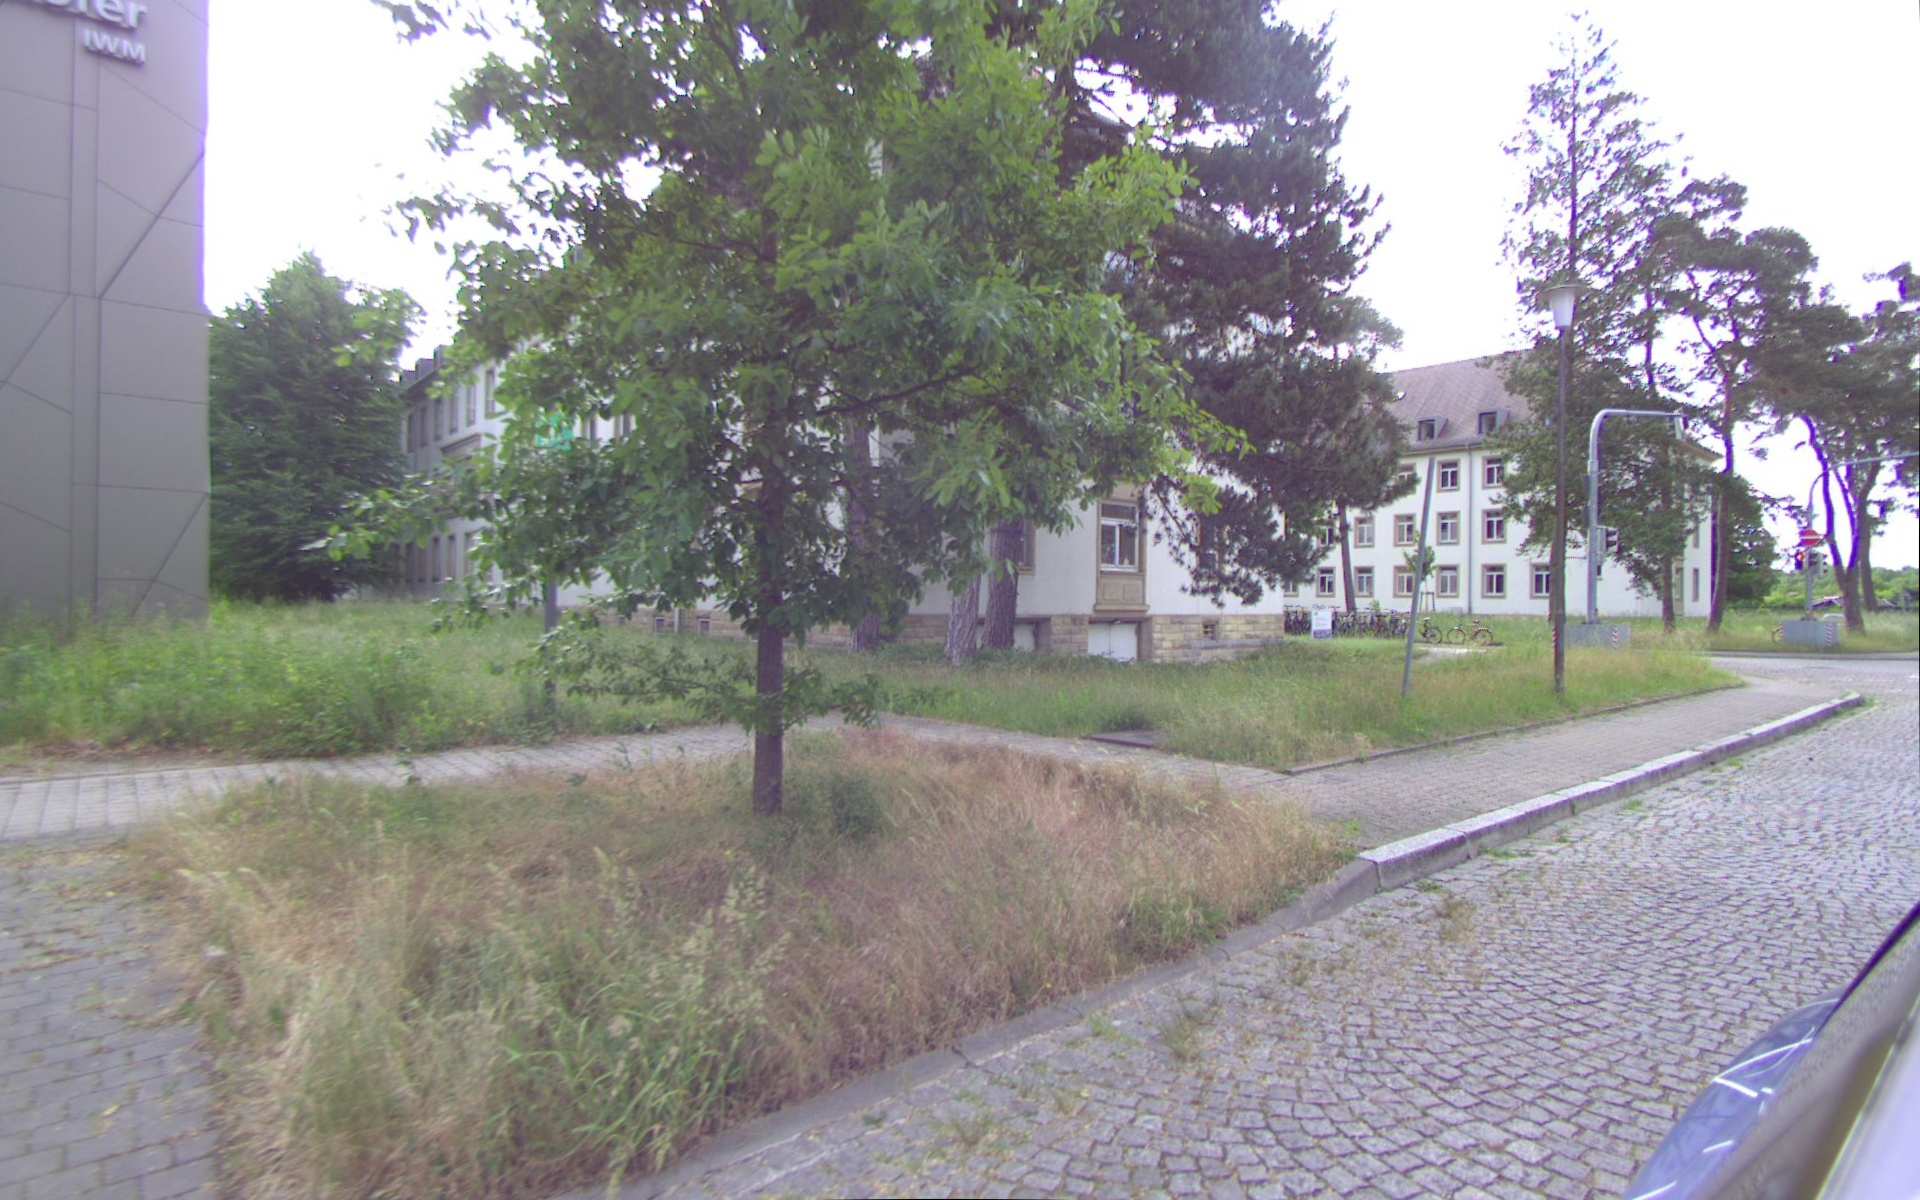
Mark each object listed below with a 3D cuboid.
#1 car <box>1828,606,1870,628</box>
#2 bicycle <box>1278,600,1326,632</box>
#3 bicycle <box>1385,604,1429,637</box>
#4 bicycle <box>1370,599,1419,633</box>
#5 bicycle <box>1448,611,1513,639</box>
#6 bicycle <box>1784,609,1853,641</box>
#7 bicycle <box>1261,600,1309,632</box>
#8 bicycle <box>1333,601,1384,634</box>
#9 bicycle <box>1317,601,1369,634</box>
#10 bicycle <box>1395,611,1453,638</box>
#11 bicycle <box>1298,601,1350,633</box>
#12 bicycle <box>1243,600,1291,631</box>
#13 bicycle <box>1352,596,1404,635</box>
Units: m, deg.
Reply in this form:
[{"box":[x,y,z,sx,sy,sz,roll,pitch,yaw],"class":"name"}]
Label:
[{"box":[64.202,1.204,73.080,3.628,1.553,1.771,1,0,-40],"class":"car"},{"box":[15.287,0.708,45.151,2.532,1.389,0.949,1,-1,-43],"class":"bicycle"},{"box":[18.299,0.826,41.414,2.083,1.323,0.873,1,-1,-42],"class":"bicycle"},{"box":[18.043,0.655,42.003,2.582,1.385,0.873,1,-1,-42],"class":"bicycle"},{"box":[19.533,0.931,38.006,0.888,1.009,1.975,1,0,-42],"class":"bicycle"},{"box":[30.762,0.891,36.297,0.636,1.075,1.829,-4,3,-44],"class":"bicycle"},{"box":[14.729,0.710,45.777,2.532,1.389,0.949,1,-1,-43],"class":"bicycle"},{"box":[17.219,0.742,43.672,2.763,1.389,0.949,1,-1,-42],"class":"bicycle"},{"box":[16.629,0.735,43.863,2.763,1.389,0.949,1,-1,-42],"class":"bicycle"},{"box":[18.113,0.938,39.538,0.716,1.009,1.978,1,0,-36],"class":"bicycle"},{"box":[16.024,0.737,44.519,2.763,1.389,0.949,1,-1,-42],"class":"bicycle"},{"box":[14.061,0.709,46.303,2.532,1.389,0.949,1,-1,-43],"class":"bicycle"},{"box":[17.732,0.639,42.886,2.763,1.604,0.949,1,-1,-42],"class":"bicycle"}]
